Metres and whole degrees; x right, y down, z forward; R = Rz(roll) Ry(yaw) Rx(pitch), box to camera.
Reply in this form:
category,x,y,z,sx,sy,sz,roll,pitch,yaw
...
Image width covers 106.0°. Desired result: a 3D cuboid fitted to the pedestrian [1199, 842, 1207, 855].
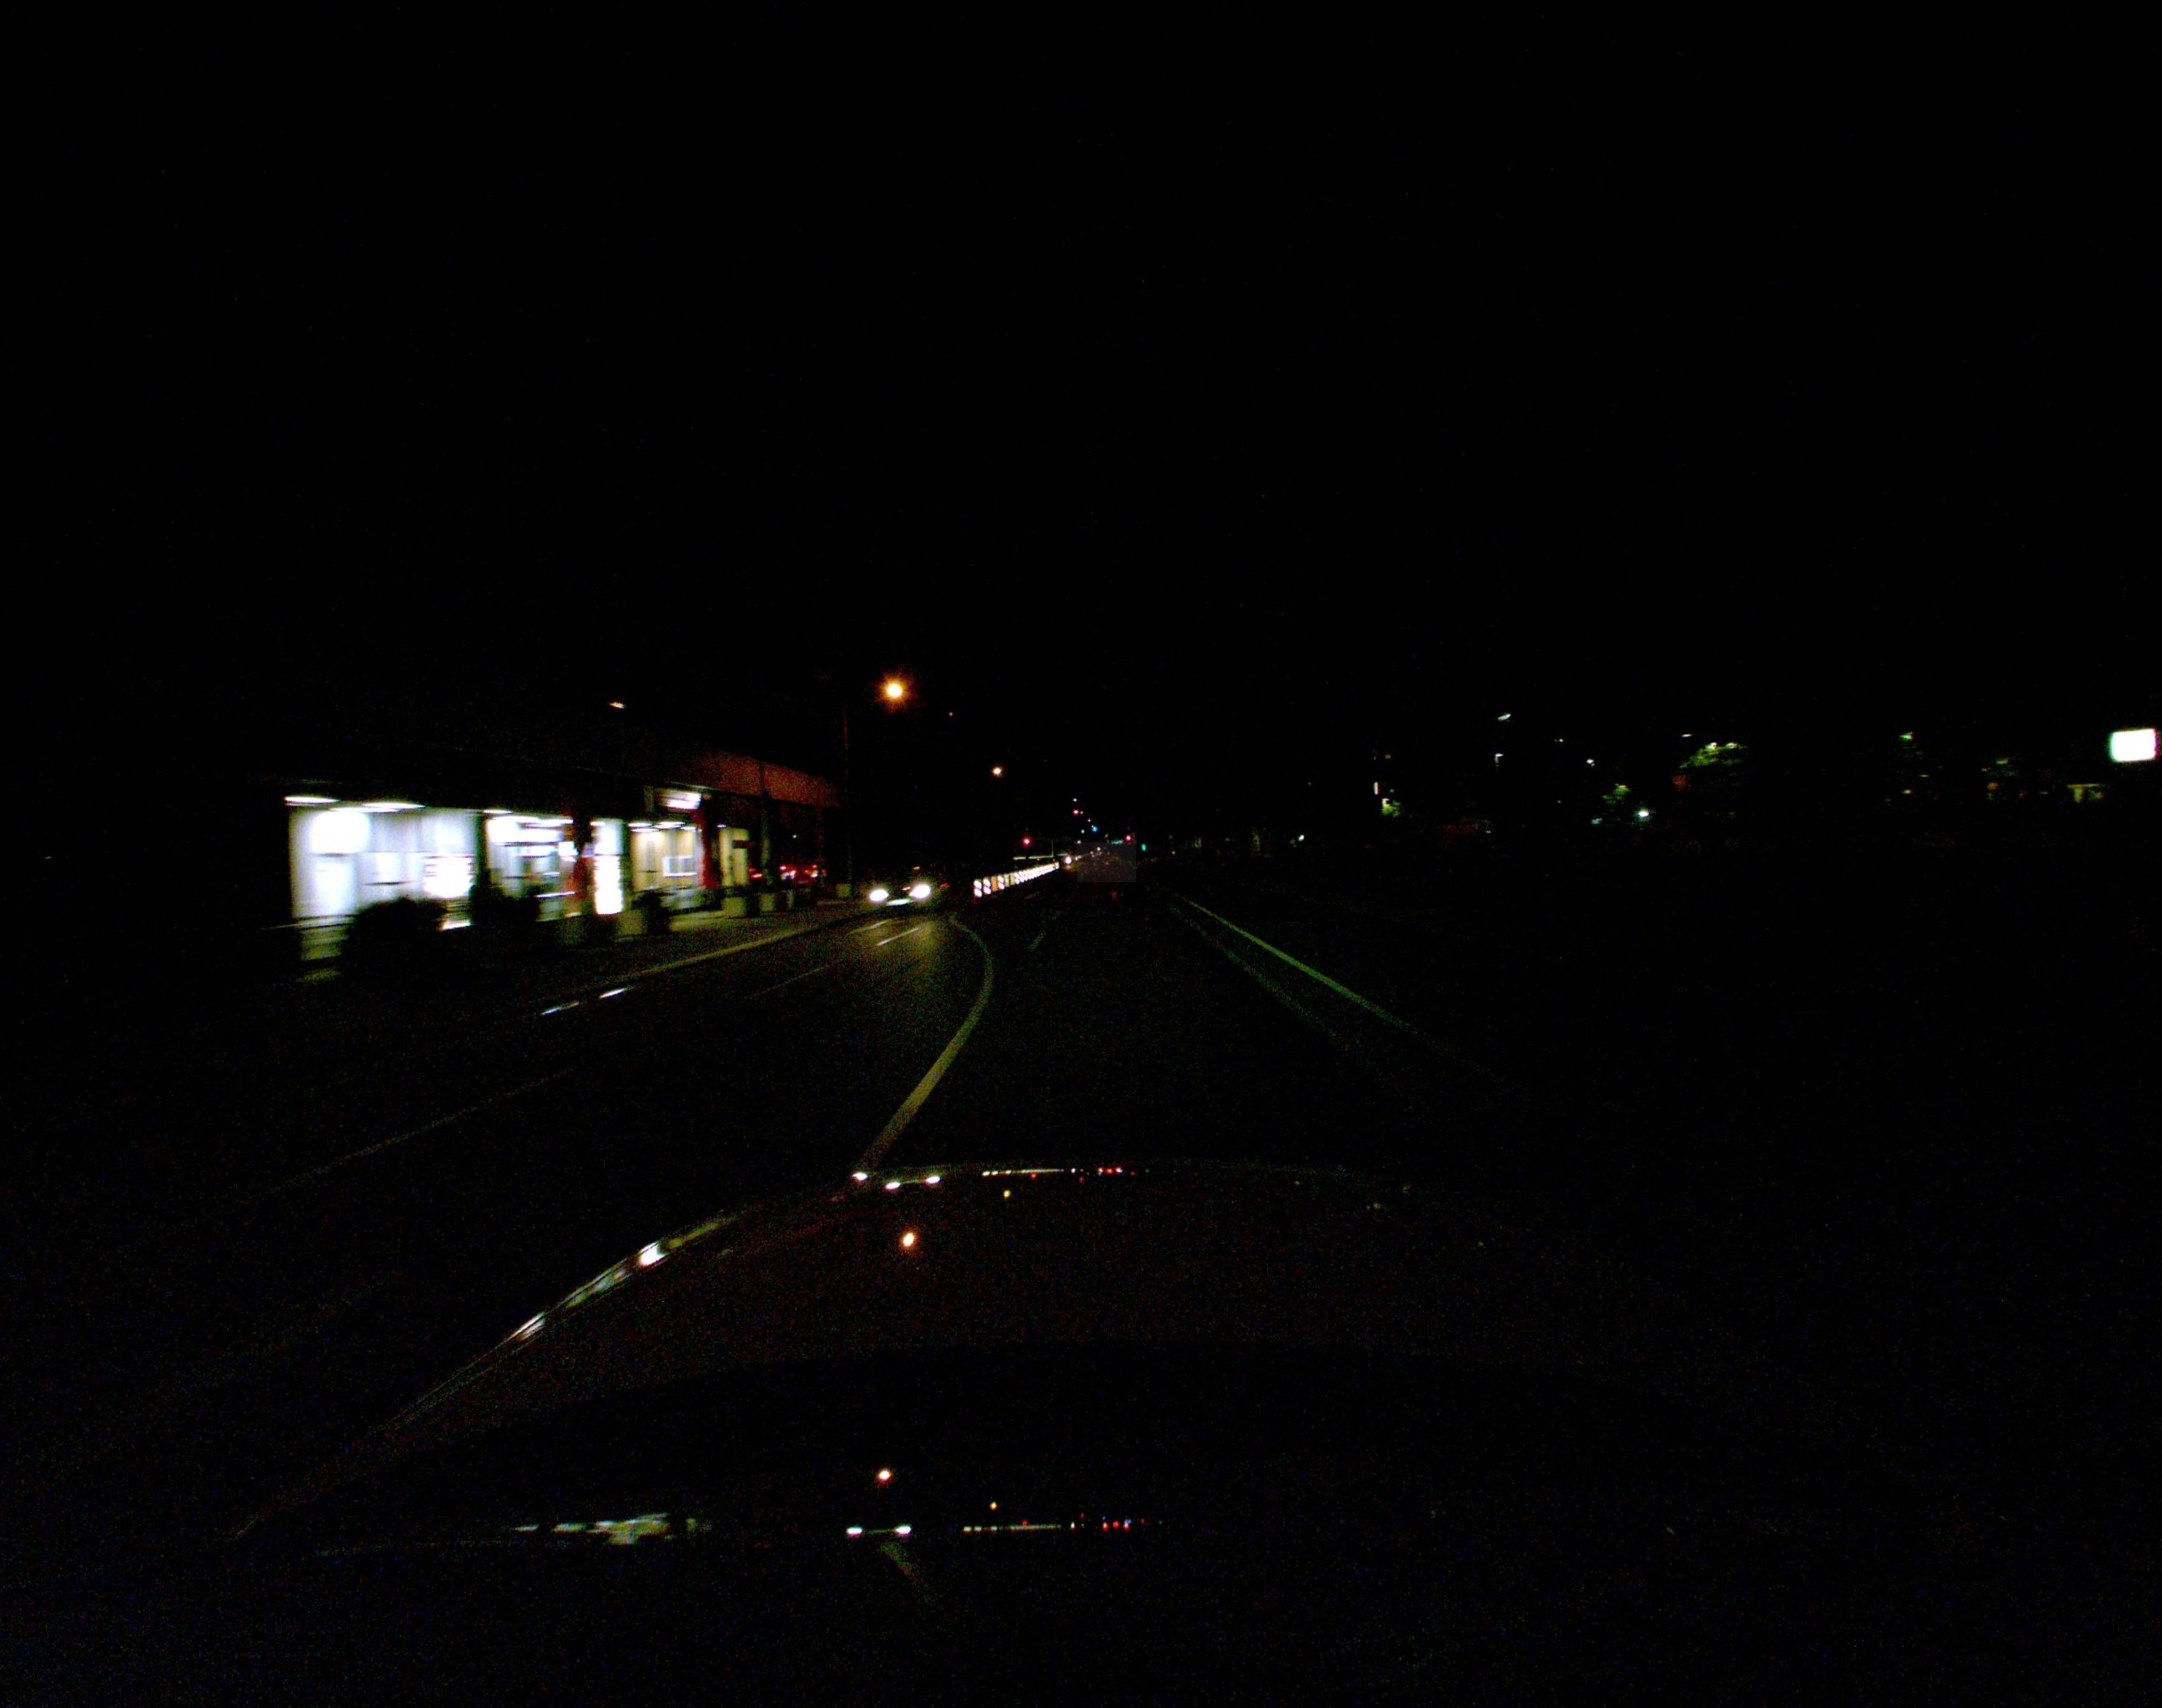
category,x,y,z,sx,sy,sz,roll,pitch,yaw
pedestrian,16.507,-0.717,110.176,0.898,1.769,0.907,-4,0,0

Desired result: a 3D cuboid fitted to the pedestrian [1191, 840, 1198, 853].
category,x,y,z,sx,sy,sz,roll,pitch,yaw
pedestrian,15.363,-0.989,109.974,0.736,1.769,0.907,-4,0,1

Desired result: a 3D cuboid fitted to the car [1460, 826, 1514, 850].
category,x,y,z,sx,sy,sz,roll,pitch,yaw
car,28.260,-1.092,56.830,1.762,1.533,4.100,-3,0,1

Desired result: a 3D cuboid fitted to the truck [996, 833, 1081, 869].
category,x,y,z,sx,sy,sz,roll,pitch,yaw
truck,-5.223,-0.361,98.782,9.985,3.717,2.781,-4,0,27

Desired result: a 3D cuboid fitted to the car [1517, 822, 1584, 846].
category,x,y,z,sx,sy,sz,roll,pitch,yaw
car,33.043,-1.398,57.474,1.883,1.512,4.892,-3,0,0

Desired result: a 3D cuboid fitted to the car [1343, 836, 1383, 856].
category,x,y,z,sx,sy,sz,roll,pitch,yaw
car,24.001,-0.677,69.523,1.778,1.533,3.995,-3,0,-3

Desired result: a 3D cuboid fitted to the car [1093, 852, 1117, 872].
category,x,y,z,sx,sy,sz,roll,pitch,yaw
car,1.917,0.592,64.858,1.798,1.494,4.732,-1,0,2

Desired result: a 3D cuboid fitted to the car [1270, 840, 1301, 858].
category,x,y,z,sx,sy,sz,roll,pitch,yaw
car,17.432,-0.439,69.573,1.507,1.395,4.482,-3,0,1

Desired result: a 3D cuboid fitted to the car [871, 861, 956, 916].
category,x,y,z,sx,sy,sz,roll,pitch,yaw
car,-5.088,1.001,25.272,1.661,1.428,4.000,-4,0,0

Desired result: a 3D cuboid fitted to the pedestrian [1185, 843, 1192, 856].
category,x,y,z,sx,sy,sz,roll,pitch,yaw
pedestrian,14.551,-0.640,109.882,0.711,1.769,0.907,-4,0,1
